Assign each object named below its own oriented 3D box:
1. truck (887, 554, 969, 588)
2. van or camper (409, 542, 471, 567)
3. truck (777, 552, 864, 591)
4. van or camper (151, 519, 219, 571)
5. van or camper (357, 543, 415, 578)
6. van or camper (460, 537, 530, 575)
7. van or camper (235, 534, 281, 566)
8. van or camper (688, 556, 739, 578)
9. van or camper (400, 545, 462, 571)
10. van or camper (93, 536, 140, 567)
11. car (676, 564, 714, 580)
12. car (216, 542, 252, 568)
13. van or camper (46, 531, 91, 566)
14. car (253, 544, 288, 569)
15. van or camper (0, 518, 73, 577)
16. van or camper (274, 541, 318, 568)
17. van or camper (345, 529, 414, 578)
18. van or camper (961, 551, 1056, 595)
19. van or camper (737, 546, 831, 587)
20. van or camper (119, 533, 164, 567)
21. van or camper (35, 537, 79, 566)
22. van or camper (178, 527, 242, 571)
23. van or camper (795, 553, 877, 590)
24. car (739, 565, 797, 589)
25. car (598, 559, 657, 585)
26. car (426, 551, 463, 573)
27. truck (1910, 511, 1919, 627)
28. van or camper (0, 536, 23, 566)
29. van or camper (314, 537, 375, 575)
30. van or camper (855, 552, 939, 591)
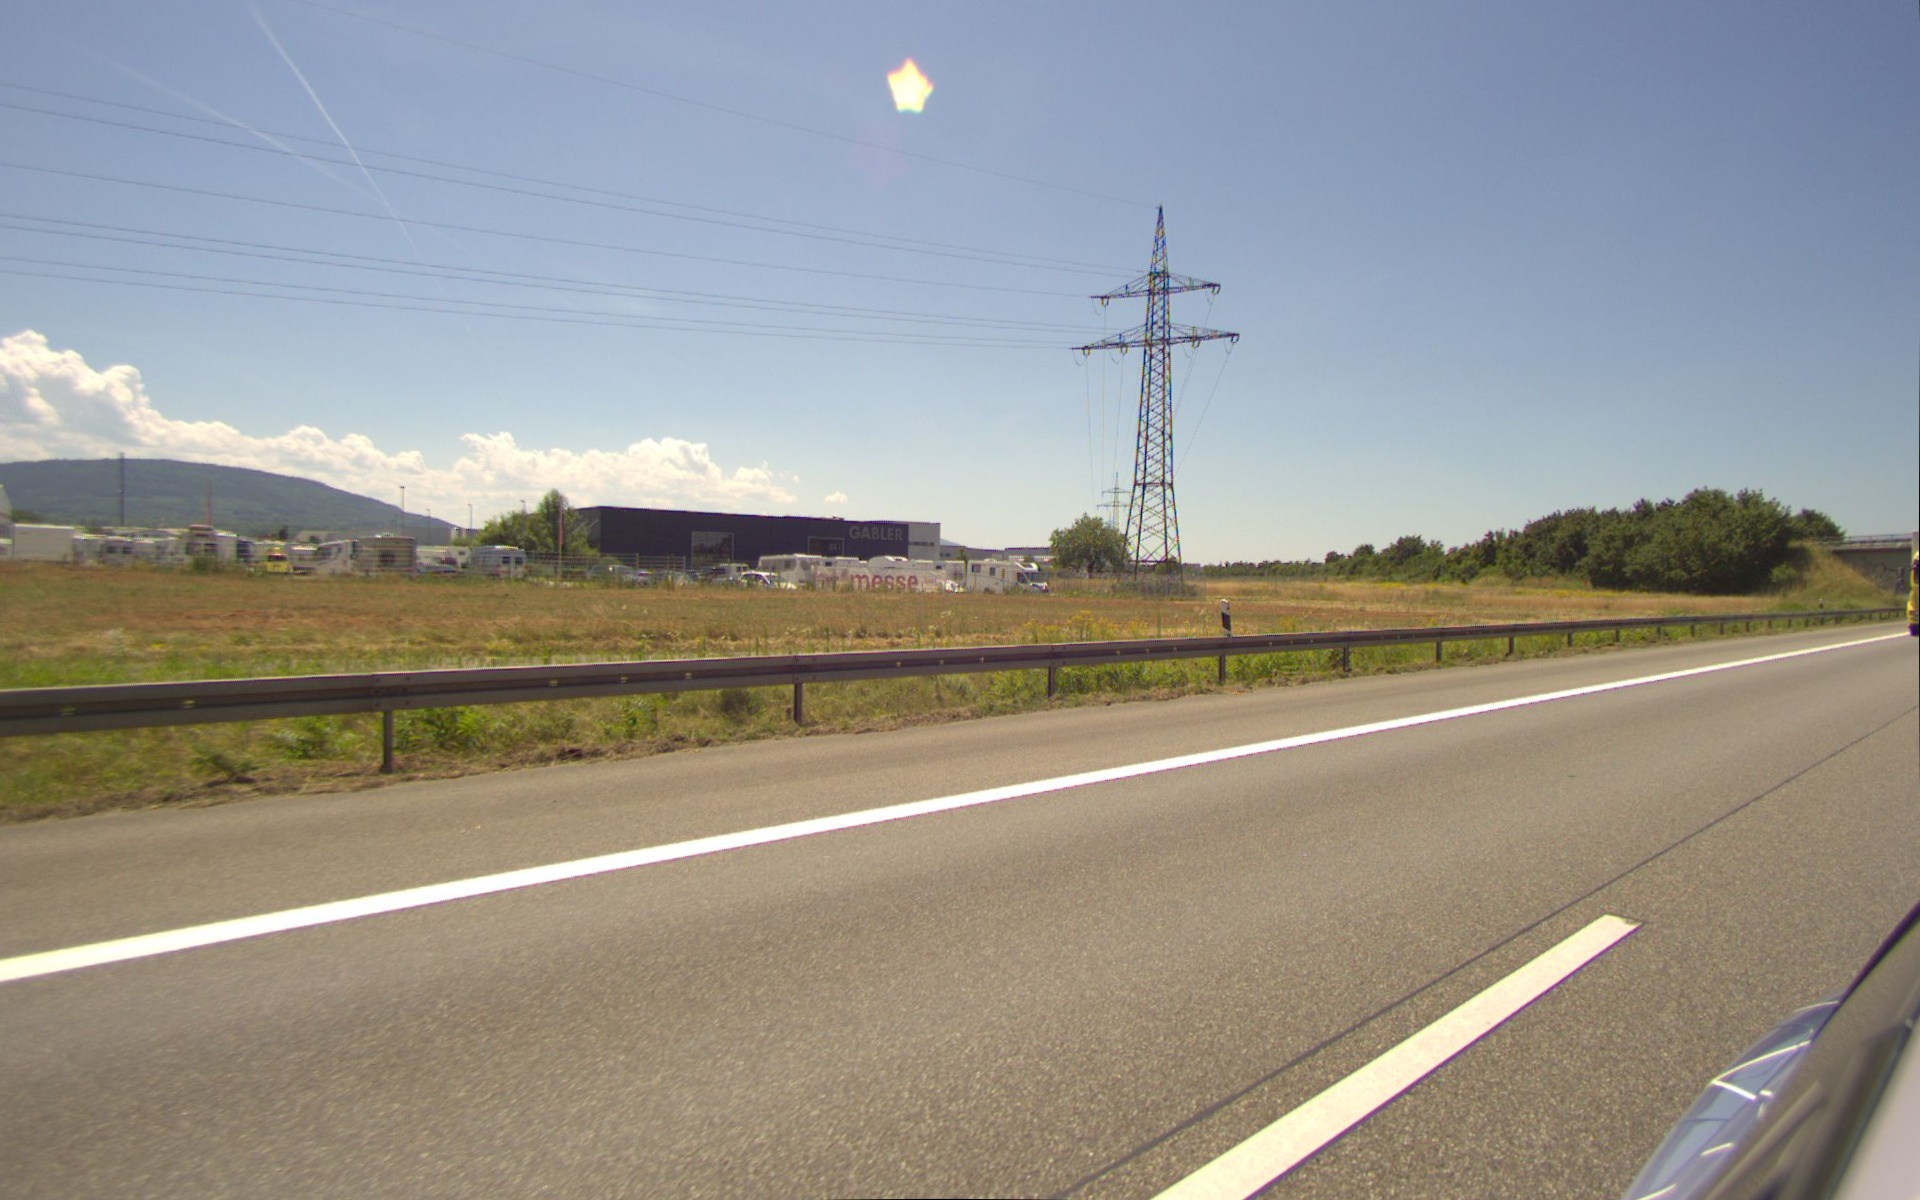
[{"bbox_3d":[-2.871,-2.595,89.403,2.728,2.916,7.743,0,2,-44],"label":"truck"},{"bbox_3d":[-62.629,-5.458,121.916,6.518,2.775,2.509,1,2,-27],"label":"van or camper"},{"bbox_3d":[-10.903,-2.242,78.643,2.561,2.916,7.743,0,2,-44],"label":"truck"},{"bbox_3d":[-42.785,-3.023,55.809,2.572,2.710,5.267,0,2,-42],"label":"van or camper"},{"bbox_3d":[-43.920,-3.031,77.374,5.313,2.588,2.383,3,2,43],"label":"van or camper"},{"bbox_3d":[-30.774,-2.910,66.875,2.508,2.337,5.645,0,3,-44],"label":"van or camper"},{"bbox_3d":[-63.808,-4.587,91.909,2.602,2.765,5.944,0,3,-43],"label":"van or camper"},{"bbox_3d":[-27.196,-3.672,111.392,2.715,2.284,6.219,0,3,-43],"label":"van or camper"},{"bbox_3d":[-60.512,-4.759,115.731,5.849,2.775,2.502,2,2,4],"label":"van or camper"},{"bbox_3d":[-64.804,-3.740,77.705,2.339,2.321,5.262,0,3,-44],"label":"van or camper"},{"bbox_3d":[-24.226,-2.572,92.383,1.670,1.431,3.993,0,2,-42],"label":"car"},{"bbox_3d":[-59.021,-3.634,82.259,1.893,2.012,3.993,0,2,-42],"label":"car"},{"bbox_3d":[-73.497,-4.260,83.376,2.602,2.765,5.944,0,3,-43],"label":"van or camper"},{"bbox_3d":[-57.590,-3.643,84.509,1.893,2.012,3.993,0,2,-42],"label":"car"},{"bbox_3d":[-45.857,-2.589,49.768,3.267,2.710,6.364,0,2,-41],"label":"van or camper"},{"bbox_3d":[-61.918,-4.270,94.293,2.462,2.414,5.944,0,3,-43],"label":"van or camper"},{"bbox_3d":[-35.445,-2.867,61.695,2.380,2.801,6.457,0,2,-42],"label":"van or camper"},{"bbox_3d":[3.560,-2.065,76.449,2.393,3.139,7.750,0,2,-42],"label":"van or camper"},{"bbox_3d":[-13.306,-2.539,76.064,3.105,2.916,7.743,0,2,-45],"label":"van or camper"},{"bbox_3d":[-70.264,-4.277,86.843,2.602,2.765,5.944,0,3,-43],"label":"van or camper"},{"bbox_3d":[-67.870,-3.674,76.150,2.395,2.092,5.839,0,3,-41],"label":"van or camper"},{"bbox_3d":[-50.376,-3.436,67.953,5.257,2.799,2.576,3,2,43],"label":"van or camper"},{"bbox_3d":[-10.283,-2.376,83.378,2.561,2.916,7.743,0,2,-44],"label":"van or camper"},{"bbox_3d":[-11.432,-1.366,60.171,1.559,1.314,3.897,0,2,-42],"label":"car"},{"bbox_3d":[-17.813,-1.505,54.158,1.559,1.314,3.897,0,2,-42],"label":"car"},{"bbox_3d":[-51.311,-3.816,100.653,2.111,2.038,4.274,0,3,-43],"label":"car"},{"bbox_3d":[40.153,-1.160,39.877,10.495,4.253,2.938,0,0,-41],"label":"truck"},{"bbox_3d":[-70.892,-3.663,74.632,2.395,2.092,5.839,0,3,-41],"label":"van or camper"},{"bbox_3d":[-44.590,-3.208,73.254,5.313,2.588,2.383,3,2,43],"label":"van or camper"},{"bbox_3d":[-5.509,-2.497,86.975,7.738,3.232,2.633,2,2,44],"label":"van or camper"}]
